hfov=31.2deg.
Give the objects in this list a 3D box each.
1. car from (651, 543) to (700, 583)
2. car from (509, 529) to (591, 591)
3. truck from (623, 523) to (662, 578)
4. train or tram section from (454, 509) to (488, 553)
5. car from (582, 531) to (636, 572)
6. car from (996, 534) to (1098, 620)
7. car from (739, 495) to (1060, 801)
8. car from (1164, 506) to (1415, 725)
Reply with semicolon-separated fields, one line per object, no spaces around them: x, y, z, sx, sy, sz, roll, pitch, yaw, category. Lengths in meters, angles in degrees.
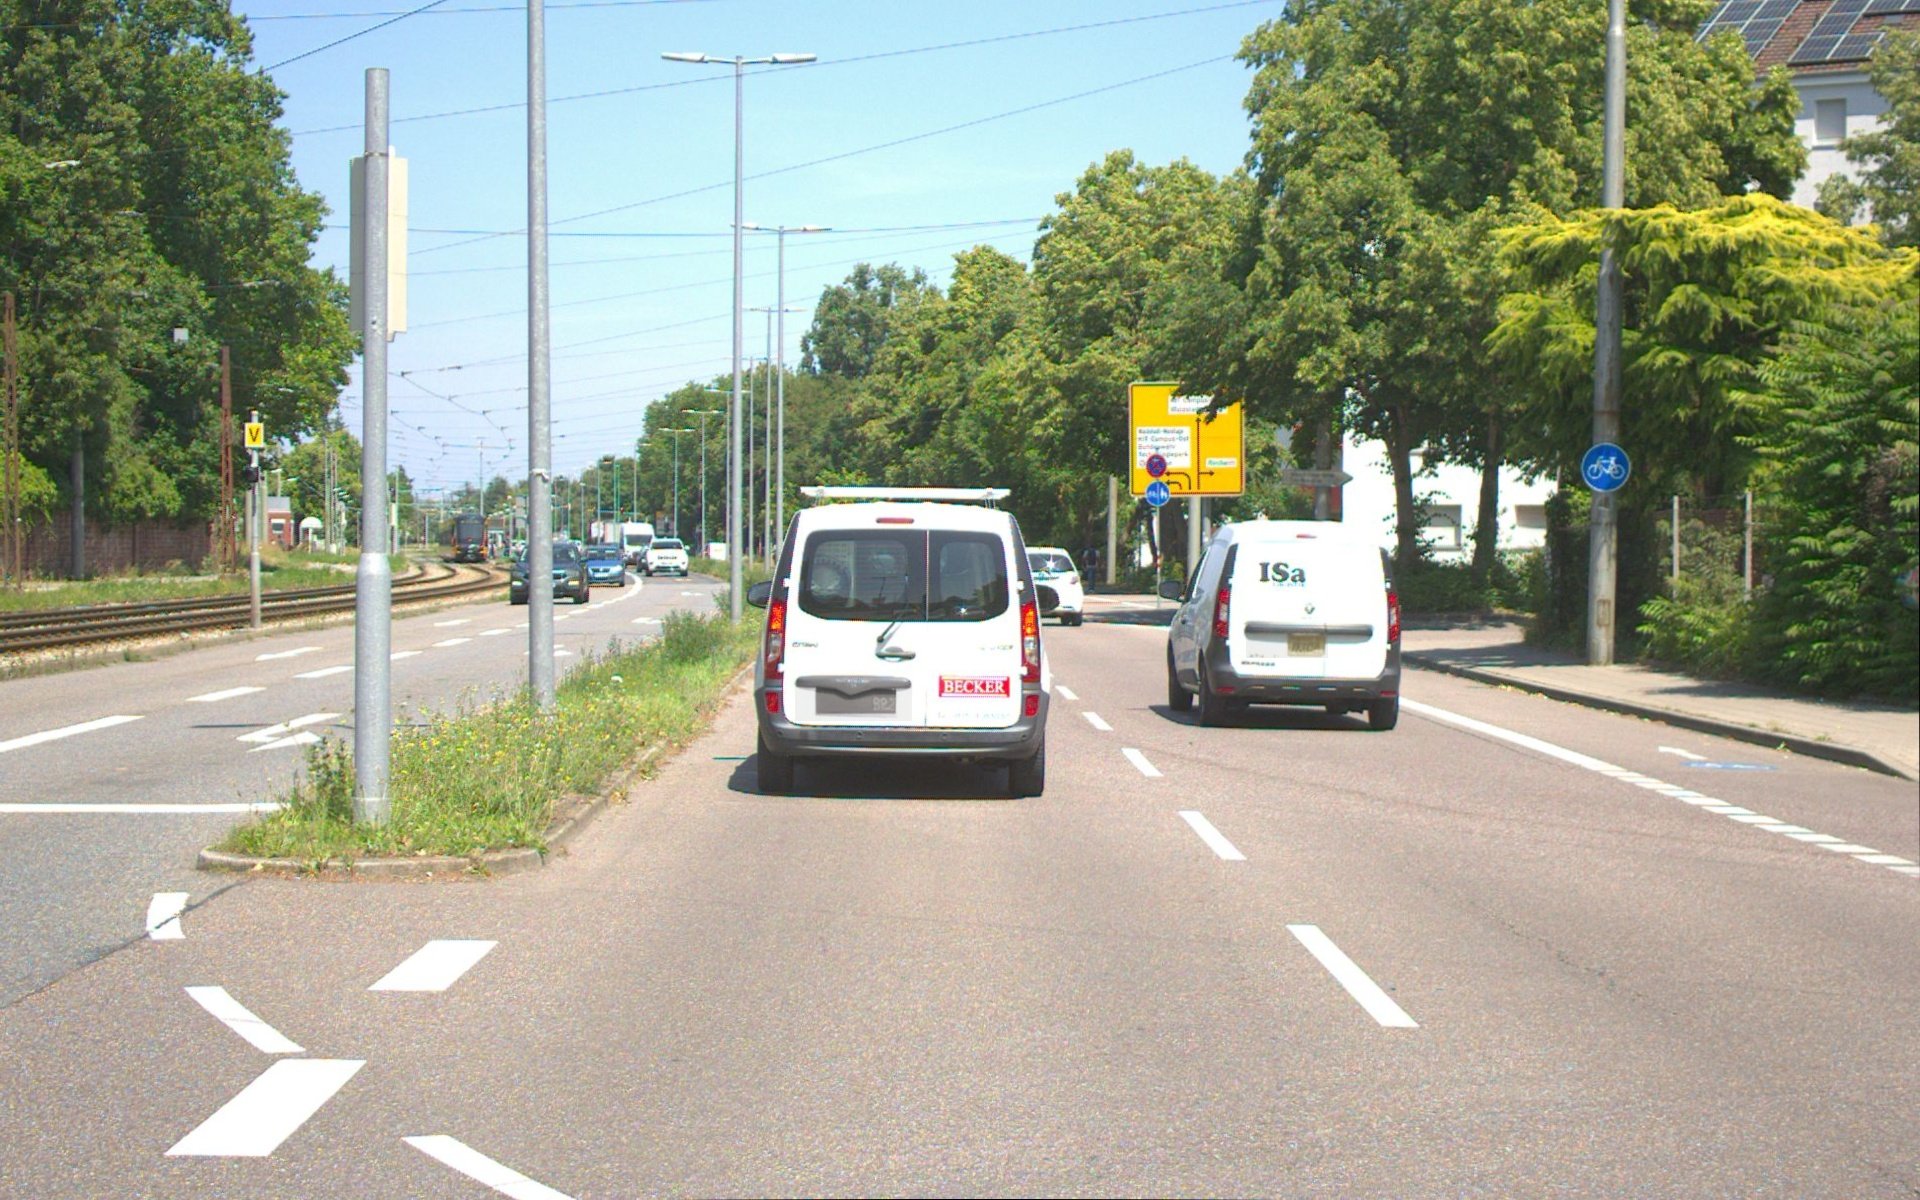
-13.340;-1.741;161.386;1.993;1.809;4.000;1;1;-1;car
-10.269;-1.026;86.250;1.697;1.507;4.066;0;1;-2;car
-19.193;-3.006;207.997;1.993;3.202;5.312;1;1;-1;truck
-36.183;-5.054;254.067;1.993;3.076;16.172;2;1;-10;train or tram section
-12.534;-1.743;123.041;1.697;1.434;4.001;0;1;-3;car
1.694;-0.479;67.832;1.835;1.563;4.000;2;1;0;car
-0.362;0.239;22.295;1.821;1.733;4.396;2;1;0;car
2.893;0.101;30.960;1.727;1.782;4.065;2;1;-1;car
